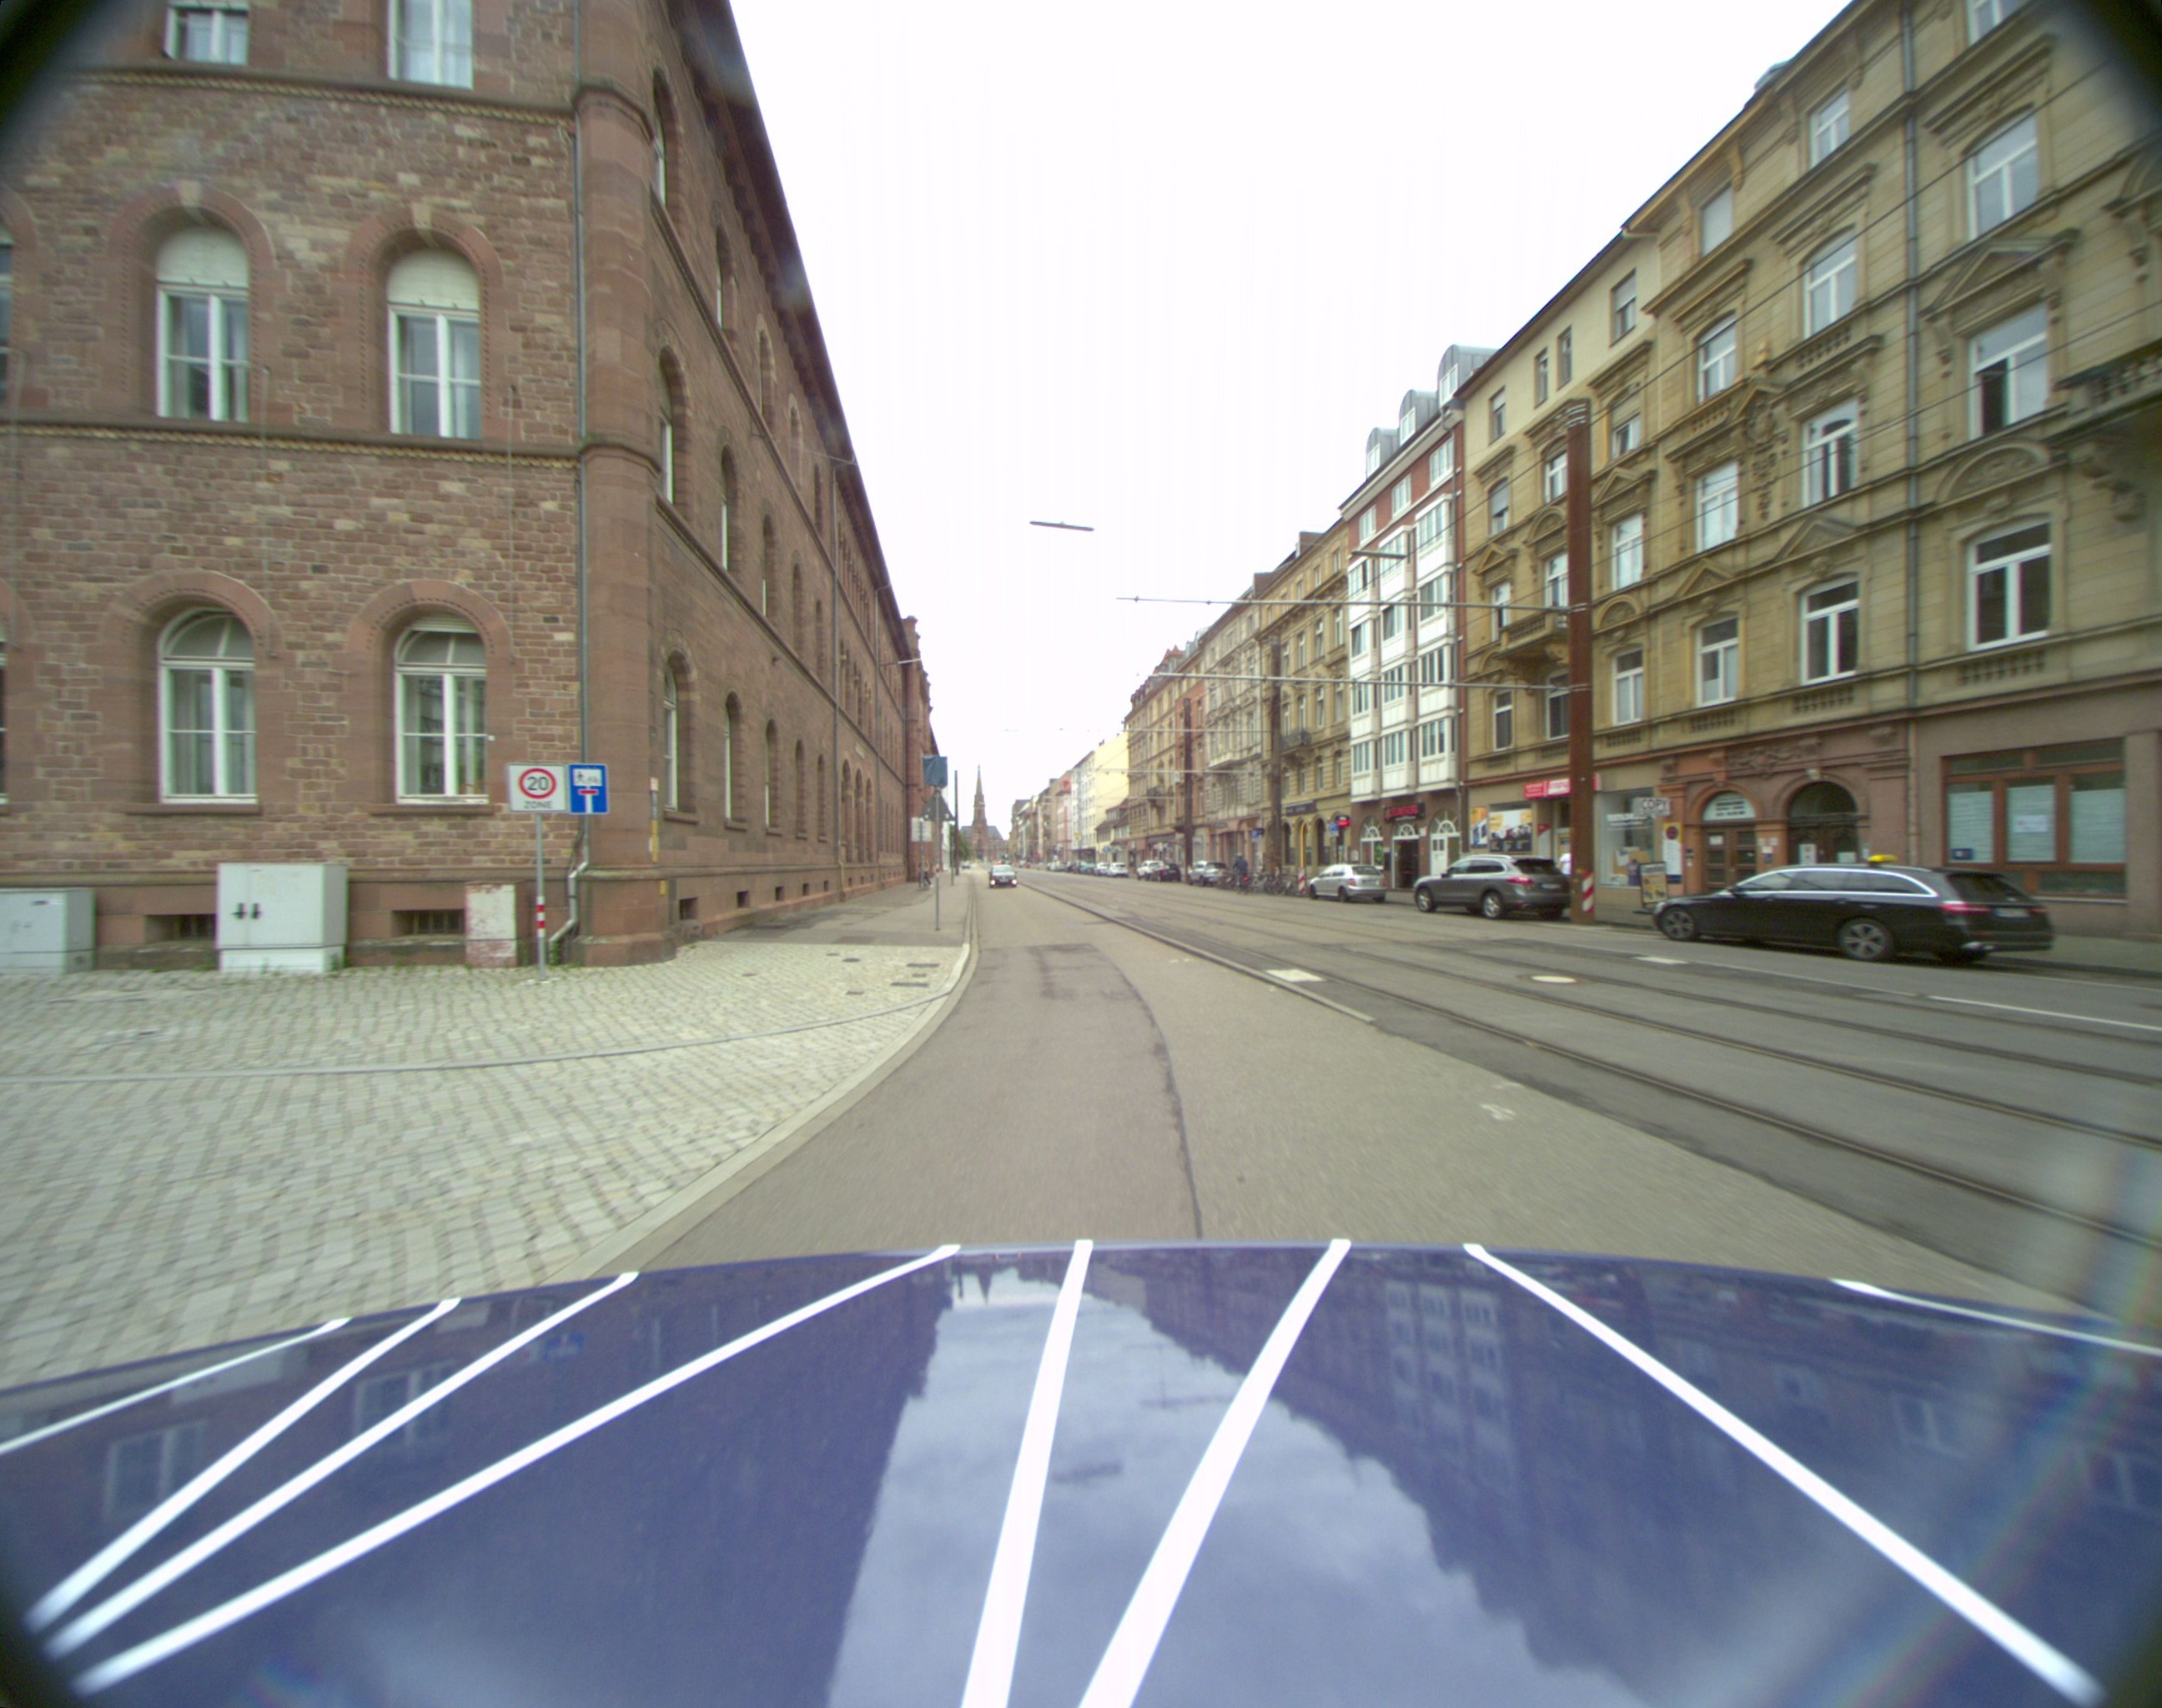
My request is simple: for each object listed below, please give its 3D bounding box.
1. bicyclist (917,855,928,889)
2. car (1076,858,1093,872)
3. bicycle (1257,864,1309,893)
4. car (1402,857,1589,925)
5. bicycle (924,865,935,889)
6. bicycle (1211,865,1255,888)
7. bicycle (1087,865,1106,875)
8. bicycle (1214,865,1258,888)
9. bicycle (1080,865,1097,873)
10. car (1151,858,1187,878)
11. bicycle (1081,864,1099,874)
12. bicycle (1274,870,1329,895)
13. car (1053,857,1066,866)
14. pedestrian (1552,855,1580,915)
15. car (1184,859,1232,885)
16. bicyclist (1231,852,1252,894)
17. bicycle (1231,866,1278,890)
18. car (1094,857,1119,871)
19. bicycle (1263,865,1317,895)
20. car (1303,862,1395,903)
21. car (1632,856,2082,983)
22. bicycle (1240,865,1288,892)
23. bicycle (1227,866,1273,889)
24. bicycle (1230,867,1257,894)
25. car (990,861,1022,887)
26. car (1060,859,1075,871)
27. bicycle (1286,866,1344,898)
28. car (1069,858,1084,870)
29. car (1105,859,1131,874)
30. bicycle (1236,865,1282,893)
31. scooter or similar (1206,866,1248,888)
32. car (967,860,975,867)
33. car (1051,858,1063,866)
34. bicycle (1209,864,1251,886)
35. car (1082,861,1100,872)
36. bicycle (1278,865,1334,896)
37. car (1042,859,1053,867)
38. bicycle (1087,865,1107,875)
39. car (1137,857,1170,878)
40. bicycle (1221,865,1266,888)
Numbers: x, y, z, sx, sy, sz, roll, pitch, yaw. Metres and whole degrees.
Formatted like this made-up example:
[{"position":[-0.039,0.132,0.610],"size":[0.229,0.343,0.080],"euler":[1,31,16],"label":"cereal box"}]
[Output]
[{"position":[-8.592,0.964,41.203],"size":[0.530,1.847,0.450],"euler":[0,0,-9],"label":"bicyclist"},{"position":[0.448,1.410,100.706],"size":[1.708,1.746,3.917],"euler":[0,0,-7],"label":"car"},{"position":[9.546,1.172,35.929],"size":[2.289,1.321,0.666],"euler":[1,0,-8],"label":"bicycle"},{"position":[11.372,0.940,21.347],"size":[1.819,1.679,5.027],"euler":[0,-1,-11],"label":"car"},{"position":[-8.272,1.238,41.472],"size":[0.447,1.269,2.225],"euler":[1,0,-9],"label":"bicycle"},{"position":[8.540,1.255,42.715],"size":[2.289,1.196,0.704],"euler":[1,0,-8],"label":"bicycle"},{"position":[1.760,1.816,87.393],"size":[2.045,1.091,0.556],"euler":[-2,1,-7],"label":"bicycle"},{"position":[8.605,1.241,42.168],"size":[2.289,1.196,0.540],"euler":[-2,2,-8],"label":"bicycle"},{"position":[0.882,1.783,90.942],"size":[2.045,0.928,0.556],"euler":[-2,1,-6],"label":"bicycle"},{"position":[6.609,1.058,57.463],"size":[1.749,1.479,3.918],"euler":[0,-1,-7],"label":"car"},{"position":[1.021,1.758,89.193],"size":[2.045,1.091,0.556],"euler":[-2,1,-7],"label":"bicycle"},{"position":[9.790,1.264,33.802],"size":[2.289,1.035,0.619],"euler":[-1,0,-8],"label":"bicycle"},{"position":[-3.577,1.190,128.234],"size":[1.734,1.443,3.824],"euler":[-2,0,-9],"label":"car"},{"position":[14.676,0.932,23.006],"size":[0.653,1.772,0.787],"euler":[-1,1,28],"label":"pedestrian"},{"position":[7.915,1.094,47.635],"size":[1.749,1.524,4.222],"euler":[0,-1,-9],"label":"car"},{"position":[7.434,0.869,35.250],"size":[0.647,1.872,1.028],"euler":[-2,1,-7],"label":"bicyclist"},{"position":[9.130,1.270,39.985],"size":[2.289,1.196,0.666],"euler":[1,0,-8],"label":"bicycle"},{"position":[2.690,1.088,81.197],"size":[1.830,1.512,4.542],"euler":[0,-1,-8],"label":"car"},{"position":[9.652,1.184,35.108],"size":[2.289,1.321,0.666],"euler":[1,0,-8],"label":"bicycle"},{"position":[10.312,1.045,29.546],"size":[1.749,1.479,3.917],"euler":[0,-1,-9],"label":"car"},{"position":[12.308,0.905,12.721],"size":[1.926,1.679,5.048],"euler":[2,0,-10],"label":"car"},{"position":[9.314,1.245,38.746],"size":[2.289,1.321,0.666],"euler":[1,0,-8],"label":"bicycle"},{"position":[9.026,1.261,40.691],"size":[2.289,1.196,0.666],"euler":[1,0,-8],"label":"bicycle"},{"position":[7.488,1.229,35.180],"size":[0.587,1.167,2.043],"euler":[1,0,-7],"label":"bicycle"},{"position":[-4.853,1.264,48.876],"size":[1.749,1.538,3.647],"euler":[-1,0,-10],"label":"car"},{"position":[-2.182,1.709,121.334],"size":[1.930,1.722,3.824],"euler":[-2,0,-9],"label":"car"},{"position":[9.989,1.181,32.499],"size":[2.289,1.321,0.666],"euler":[1,0,-8],"label":"bicycle"},{"position":[-0.673,1.442,109.196],"size":[1.706,1.662,4.178],"euler":[-2,0,-7],"label":"car"},{"position":[3.696,1.224,76.526],"size":[1.749,1.456,4.043],"euler":[0,-1,-9],"label":"car"},{"position":[9.204,1.284,39.342],"size":[2.289,1.286,0.448],"euler":[-3,1,-8],"label":"bicycle"},{"position":[8.465,1.303,44.038],"size":[2.289,1.196,0.547],"euler":[-2,0,-8],"label":"scooter or similar"},{"position":[-27.488,2.242,189.570],"size":[1.836,1.652,3.997],"euler":[-2,0,-8],"label":"car"},{"position":[-4.214,1.349,134.452],"size":[1.734,1.335,3.244],"euler":[-2,0,-9],"label":"car"},{"position":[8.499,1.209,43.401],"size":[2.289,1.196,0.547],"euler":[-1,0,-8],"label":"bicycle"},{"position":[1.240,1.620,96.034],"size":[1.653,1.372,3.433],"euler":[0,-1,-11],"label":"car"},{"position":[9.841,1.160,33.207],"size":[2.289,1.321,0.520],"euler":[1,0,-8],"label":"bicycle"},{"position":[-6.712,1.761,151.577],"size":[1.869,1.553,3.997],"euler":[1,0,-8],"label":"car"},{"position":[1.803,1.780,86.670],"size":[2.141,1.091,0.556],"euler":[-2,1,-7],"label":"bicycle"},{"position":[5.888,1.072,62.130],"size":[1.749,1.662,4.043],"euler":[0,-1,-9],"label":"car"},{"position":[8.872,1.245,41.452],"size":[2.289,1.196,0.704],"euler":[1,0,-8],"label":"bicycle"}]
